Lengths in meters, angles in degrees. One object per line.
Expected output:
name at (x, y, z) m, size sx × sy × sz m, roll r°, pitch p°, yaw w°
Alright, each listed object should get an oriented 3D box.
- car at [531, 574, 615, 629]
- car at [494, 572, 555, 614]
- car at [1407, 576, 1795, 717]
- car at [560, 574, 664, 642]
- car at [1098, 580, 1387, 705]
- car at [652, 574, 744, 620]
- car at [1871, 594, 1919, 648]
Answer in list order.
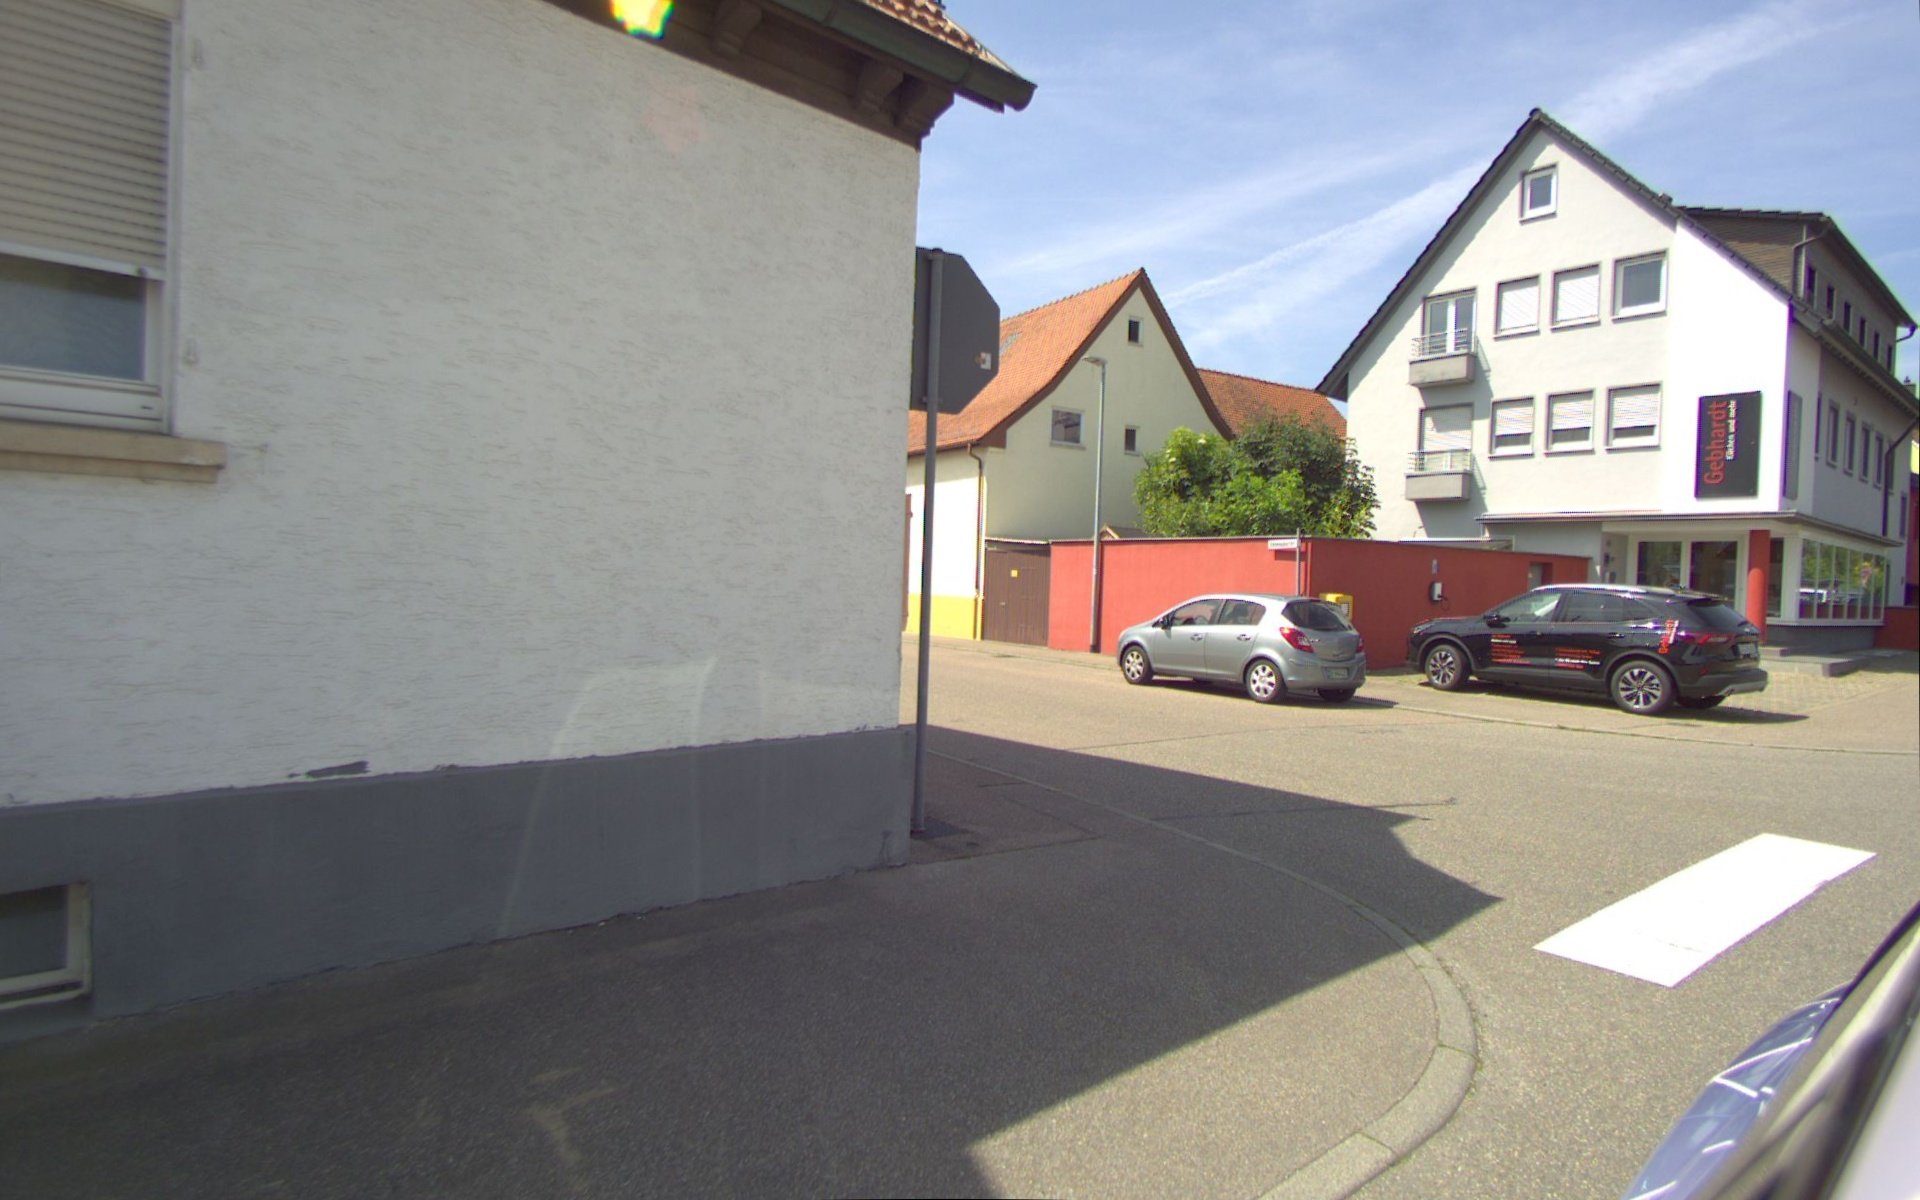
car at (-10.875, -0.005, 28.273) m, size 1.669 × 1.408 × 4.006 m, roll 0°, pitch 1°, yaw -29°
car at (-15.802, -0.272, 36.623) m, size 1.669 × 1.408 × 4.006 m, roll 0°, pitch 1°, yaw -29°
car at (8.859, 0.516, 14.407) m, size 1.811 × 1.674 × 4.311 m, roll 0°, pitch 1°, yaw -31°
car at (-8.229, 0.128, 23.716) m, size 1.669 × 1.408 × 4.006 m, roll 0°, pitch 1°, yaw -29°
car at (3.952, 0.514, 14.818) m, size 1.660 × 1.523 × 4.004 m, roll 2°, pitch 1°, yaw -31°
car at (-9.555, -0.141, 36.734) m, size 1.728 × 1.499 × 3.997 m, roll 2°, pitch 0°, yaw -38°
car at (31.945, 0.573, 31.959) m, size 1.842 × 1.691 × 4.375 m, roll 0°, pitch -4°, yaw -38°
